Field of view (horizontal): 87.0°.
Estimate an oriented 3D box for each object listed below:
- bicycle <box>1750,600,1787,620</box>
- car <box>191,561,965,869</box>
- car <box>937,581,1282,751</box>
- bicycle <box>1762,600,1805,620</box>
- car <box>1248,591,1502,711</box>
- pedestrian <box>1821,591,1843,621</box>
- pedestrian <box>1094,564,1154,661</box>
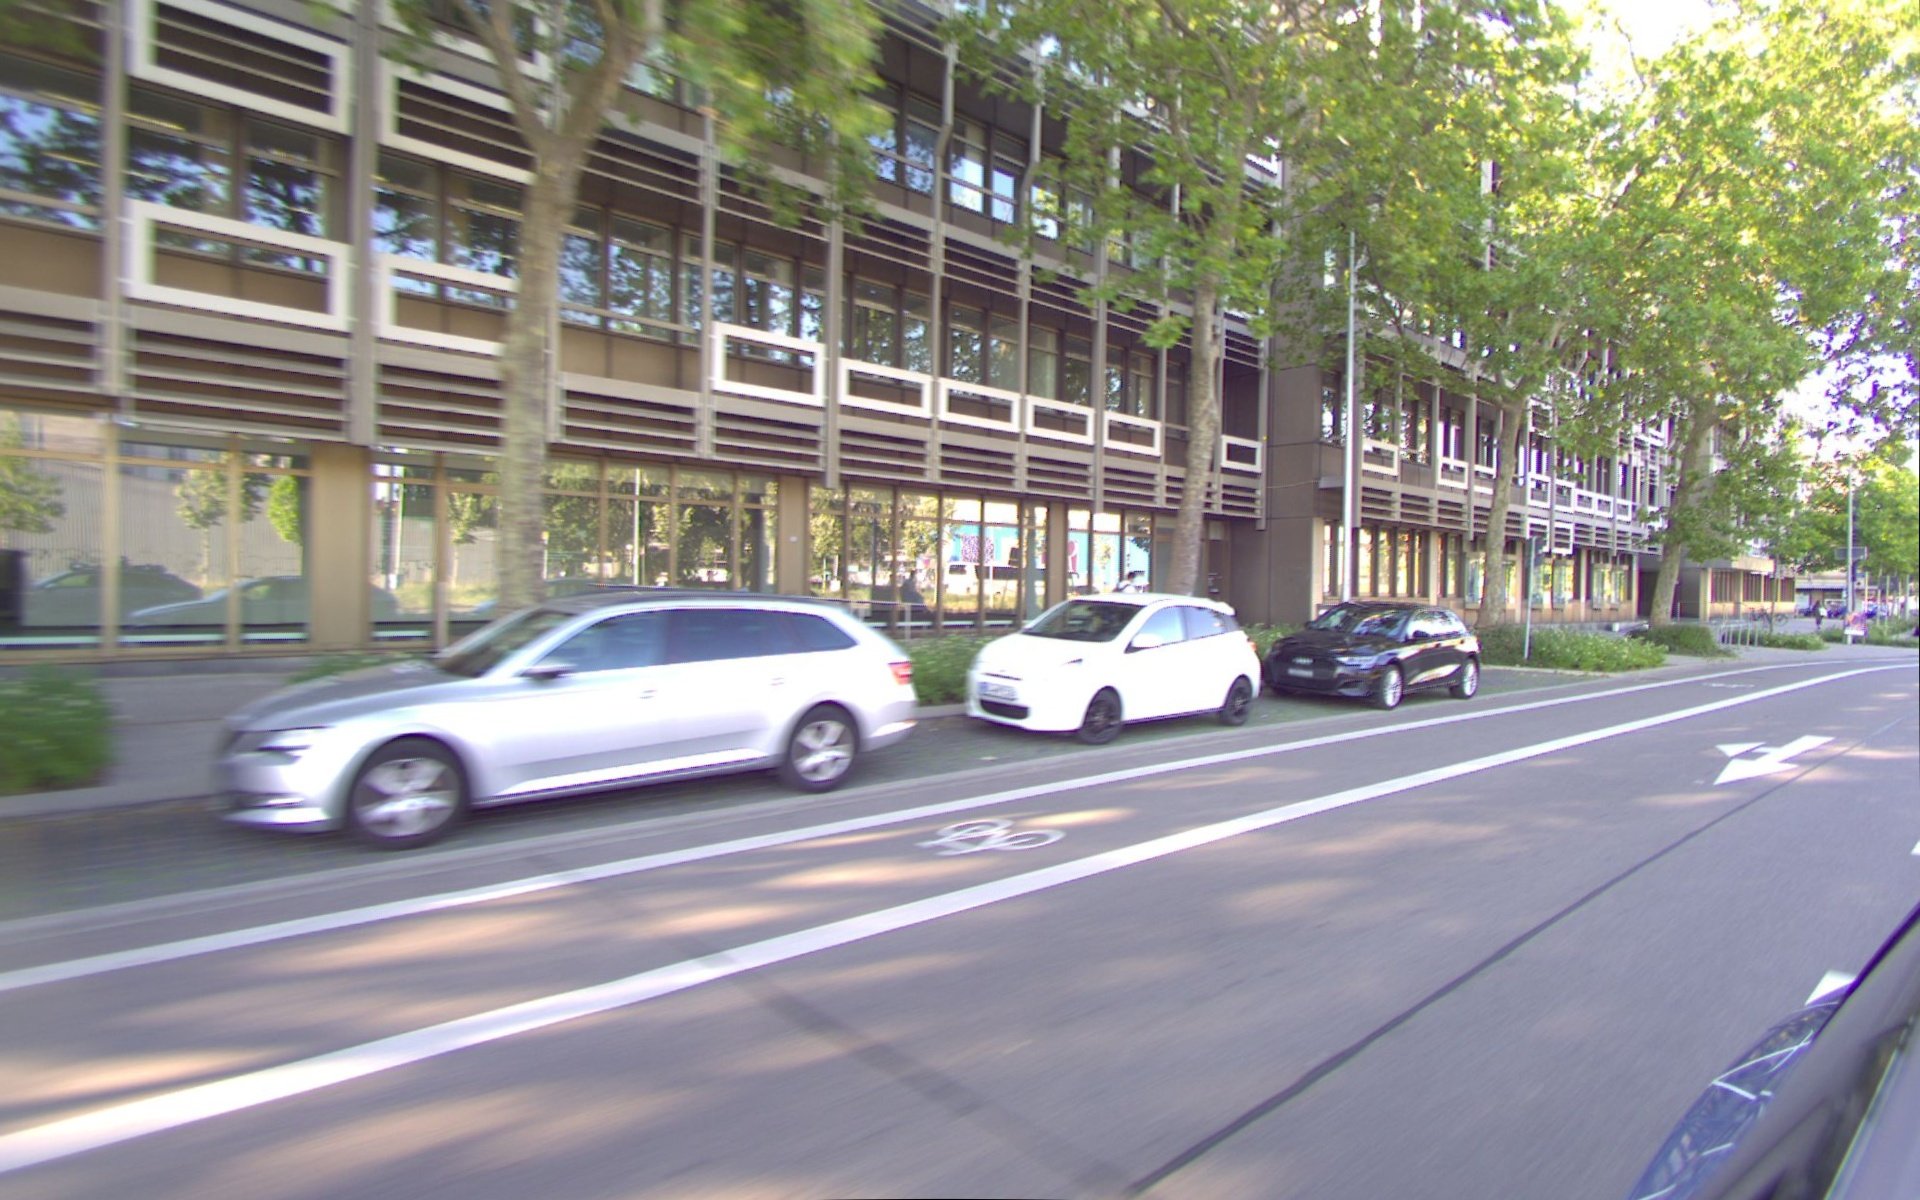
[{"bbox_3d":[46.737,0.589,58.511,0.385,1.095,1.630,1,2,-41],"label":"bicycle"},{"bbox_3d":[-2.462,0.591,7.378,4.965,1.533,1.687,1,3,-37],"label":"car"},{"bbox_3d":[1.762,0.610,11.251,3.806,1.496,1.685,0,3,-41],"label":"car"},{"bbox_3d":[48.671,0.592,59.811,1.899,1.106,0.386,3,2,42],"label":"bicycle"},{"bbox_3d":[6.208,0.651,14.914,4.201,1.435,1.710,0,3,-41],"label":"car"},{"bbox_3d":[49.113,0.320,56.995,1.117,1.669,0.790,0,2,-43],"label":"pedestrian"},{"bbox_3d":[3.270,0.233,20.235,0.832,1.879,0.833,1,0,-42],"label":"pedestrian"}]
